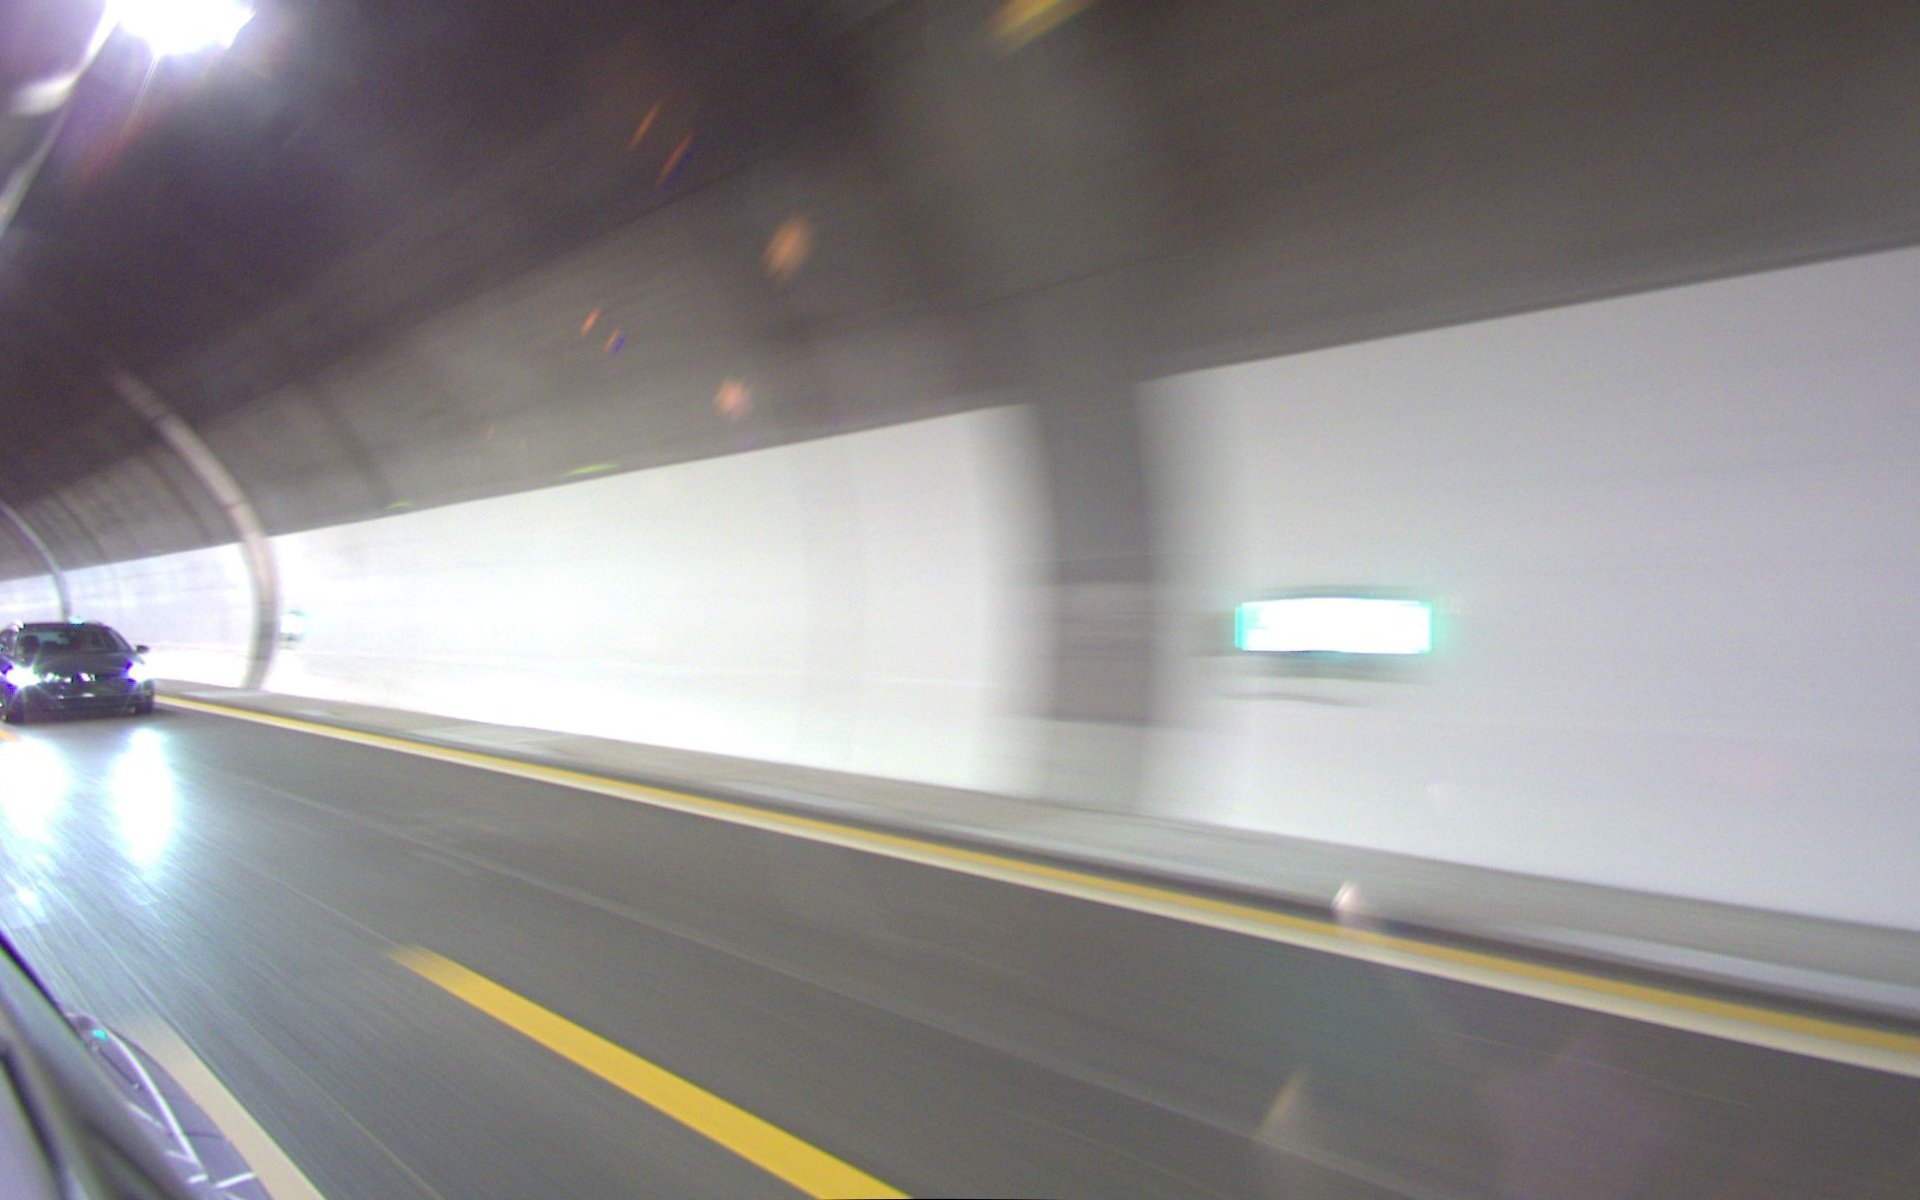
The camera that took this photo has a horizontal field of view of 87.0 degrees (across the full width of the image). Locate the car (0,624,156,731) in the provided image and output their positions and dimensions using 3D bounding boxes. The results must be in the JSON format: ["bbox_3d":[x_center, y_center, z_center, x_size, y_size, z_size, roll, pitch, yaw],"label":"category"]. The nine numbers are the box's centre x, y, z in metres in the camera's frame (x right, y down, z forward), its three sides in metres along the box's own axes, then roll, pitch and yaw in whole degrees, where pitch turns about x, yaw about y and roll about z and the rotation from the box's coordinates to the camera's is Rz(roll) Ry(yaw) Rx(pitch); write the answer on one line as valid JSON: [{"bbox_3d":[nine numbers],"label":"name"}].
[{"bbox_3d":[-14.529,1.135,16.154,4.879,1.449,1.760,-2,-1,41],"label":"car"}]
